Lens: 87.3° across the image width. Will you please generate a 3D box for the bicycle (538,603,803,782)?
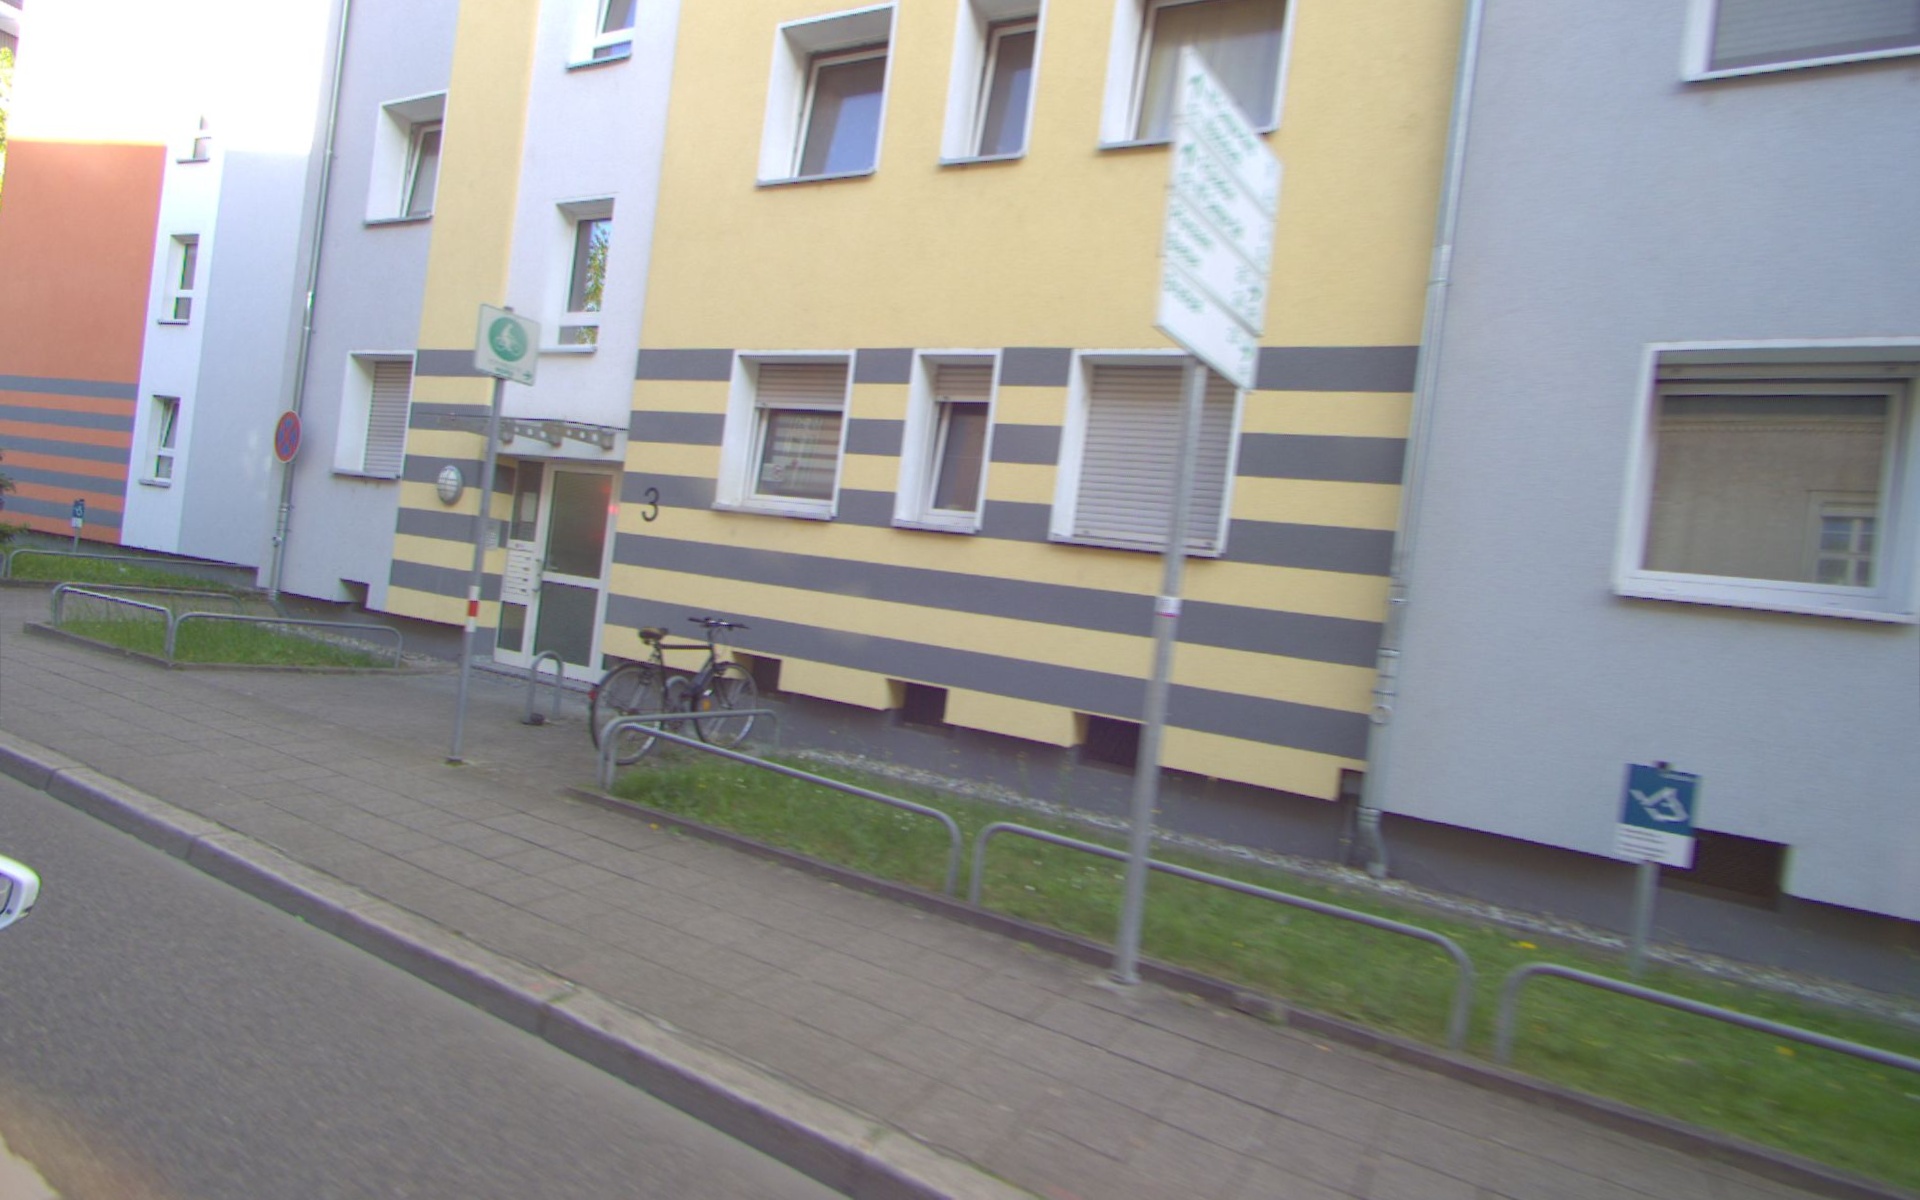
[{"bbox_3d":[-2.035,0.638,7.407,0.625,1.074,1.947,8,1,27],"label":"bicycle"}]
